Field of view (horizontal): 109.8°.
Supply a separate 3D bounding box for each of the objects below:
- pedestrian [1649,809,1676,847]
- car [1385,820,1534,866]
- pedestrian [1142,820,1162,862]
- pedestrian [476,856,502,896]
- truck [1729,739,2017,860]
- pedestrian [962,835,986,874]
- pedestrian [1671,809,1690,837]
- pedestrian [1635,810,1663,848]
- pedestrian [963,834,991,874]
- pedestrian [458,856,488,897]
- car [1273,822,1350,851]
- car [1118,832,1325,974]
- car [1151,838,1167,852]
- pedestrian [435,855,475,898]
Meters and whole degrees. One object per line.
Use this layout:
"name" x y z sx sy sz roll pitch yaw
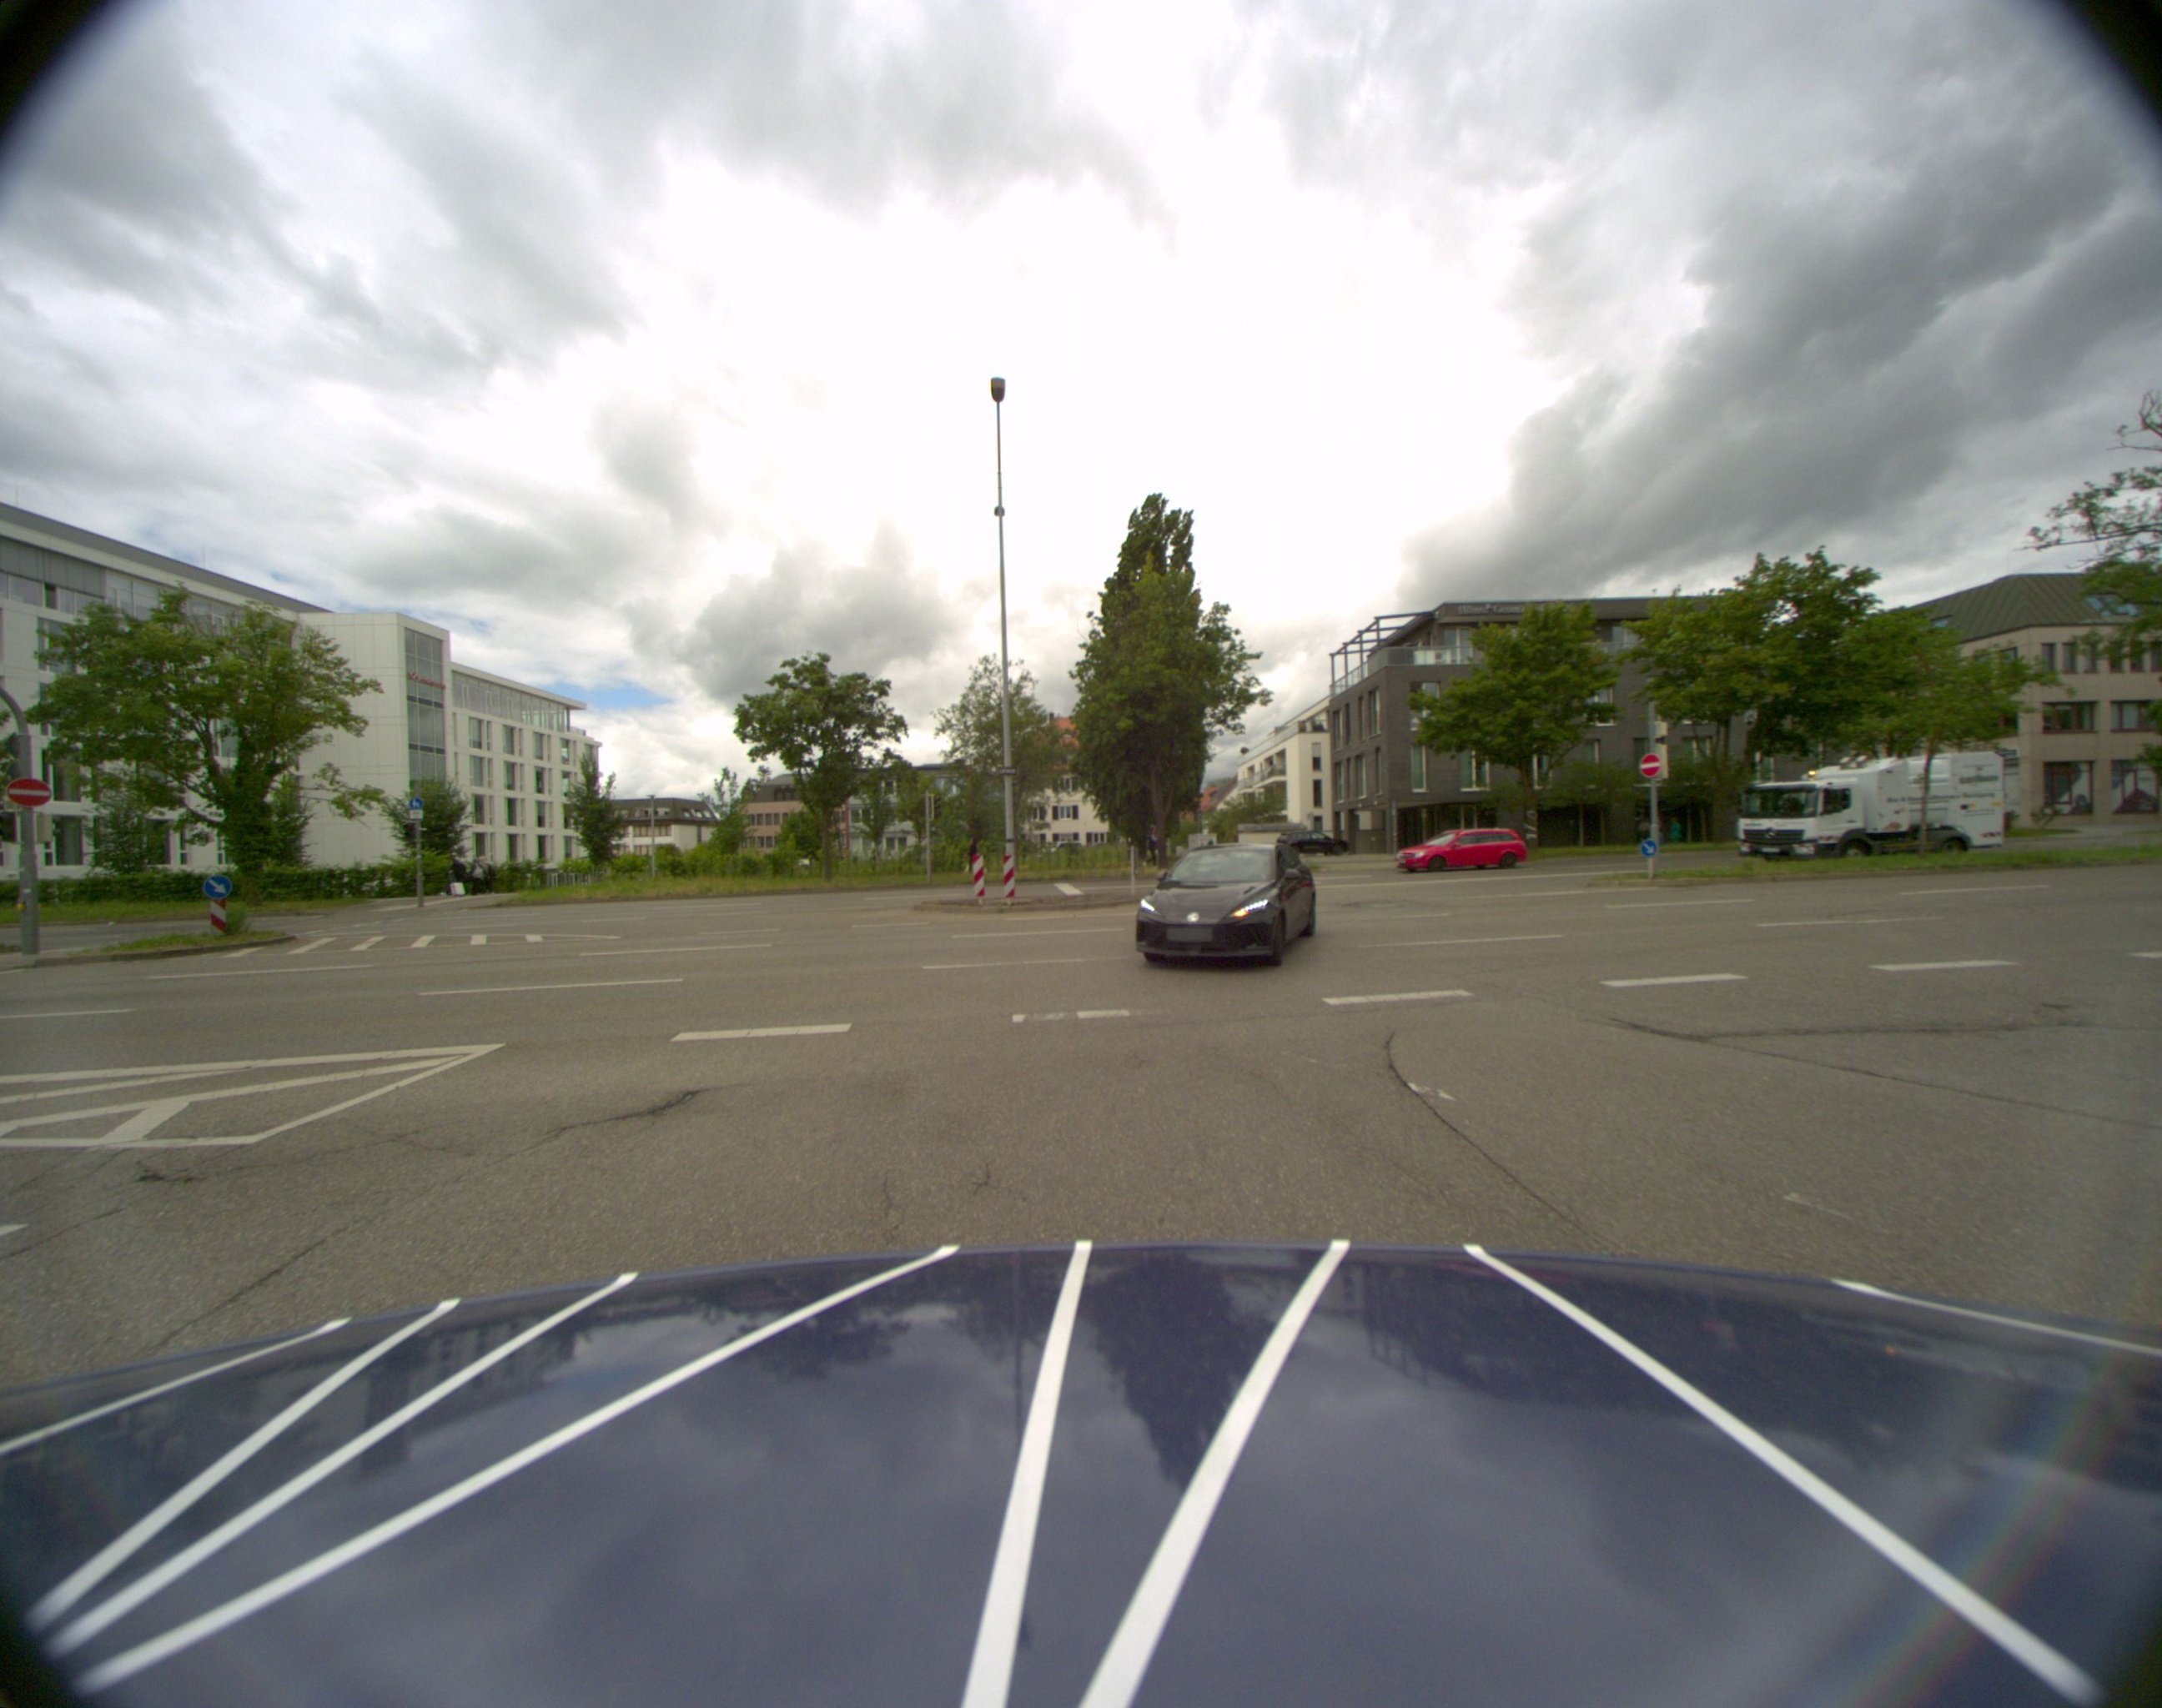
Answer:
"pedestrian" 27.230 -1.213 35.587 0.649 1.735 0.693 -4 0 -8
"car" 13.479 -0.394 27.222 4.354 1.415 1.999 -2 1 -5
"pedestrian" 3.076 -0.560 33.020 0.750 1.786 0.671 -4 0 2
"pedestrian" -24.586 0.911 31.544 0.689 1.616 0.660 -4 0 -44
"truck" 23.383 -1.606 22.595 6.464 3.178 2.435 -2 3 -6
"pedestrian" -4.731 0.026 33.674 0.833 1.685 0.615 -4 0 -19
"pedestrian" 29.472 -1.512 37.377 0.534 1.349 0.660 -4 0 25
"pedestrian" 27.162 -1.195 36.349 0.698 1.735 0.693 -4 0 -8
"pedestrian" -4.512 0.005 33.035 1.004 1.685 0.607 -4 0 -19
"pedestrian" -24.579 0.901 30.727 0.707 1.616 0.566 -4 0 21
"car" 14.077 -1.049 46.589 4.122 1.591 2.000 -1 -1 -1
"car" 2.183 0.502 10.784 1.797 1.476 4.025 0 4 27
"car" 10.327 -1.178 100.661 1.955 1.543 3.966 -4 -1 5
"pedestrian" -24.729 0.901 30.017 1.032 1.616 0.735 -4 0 21
